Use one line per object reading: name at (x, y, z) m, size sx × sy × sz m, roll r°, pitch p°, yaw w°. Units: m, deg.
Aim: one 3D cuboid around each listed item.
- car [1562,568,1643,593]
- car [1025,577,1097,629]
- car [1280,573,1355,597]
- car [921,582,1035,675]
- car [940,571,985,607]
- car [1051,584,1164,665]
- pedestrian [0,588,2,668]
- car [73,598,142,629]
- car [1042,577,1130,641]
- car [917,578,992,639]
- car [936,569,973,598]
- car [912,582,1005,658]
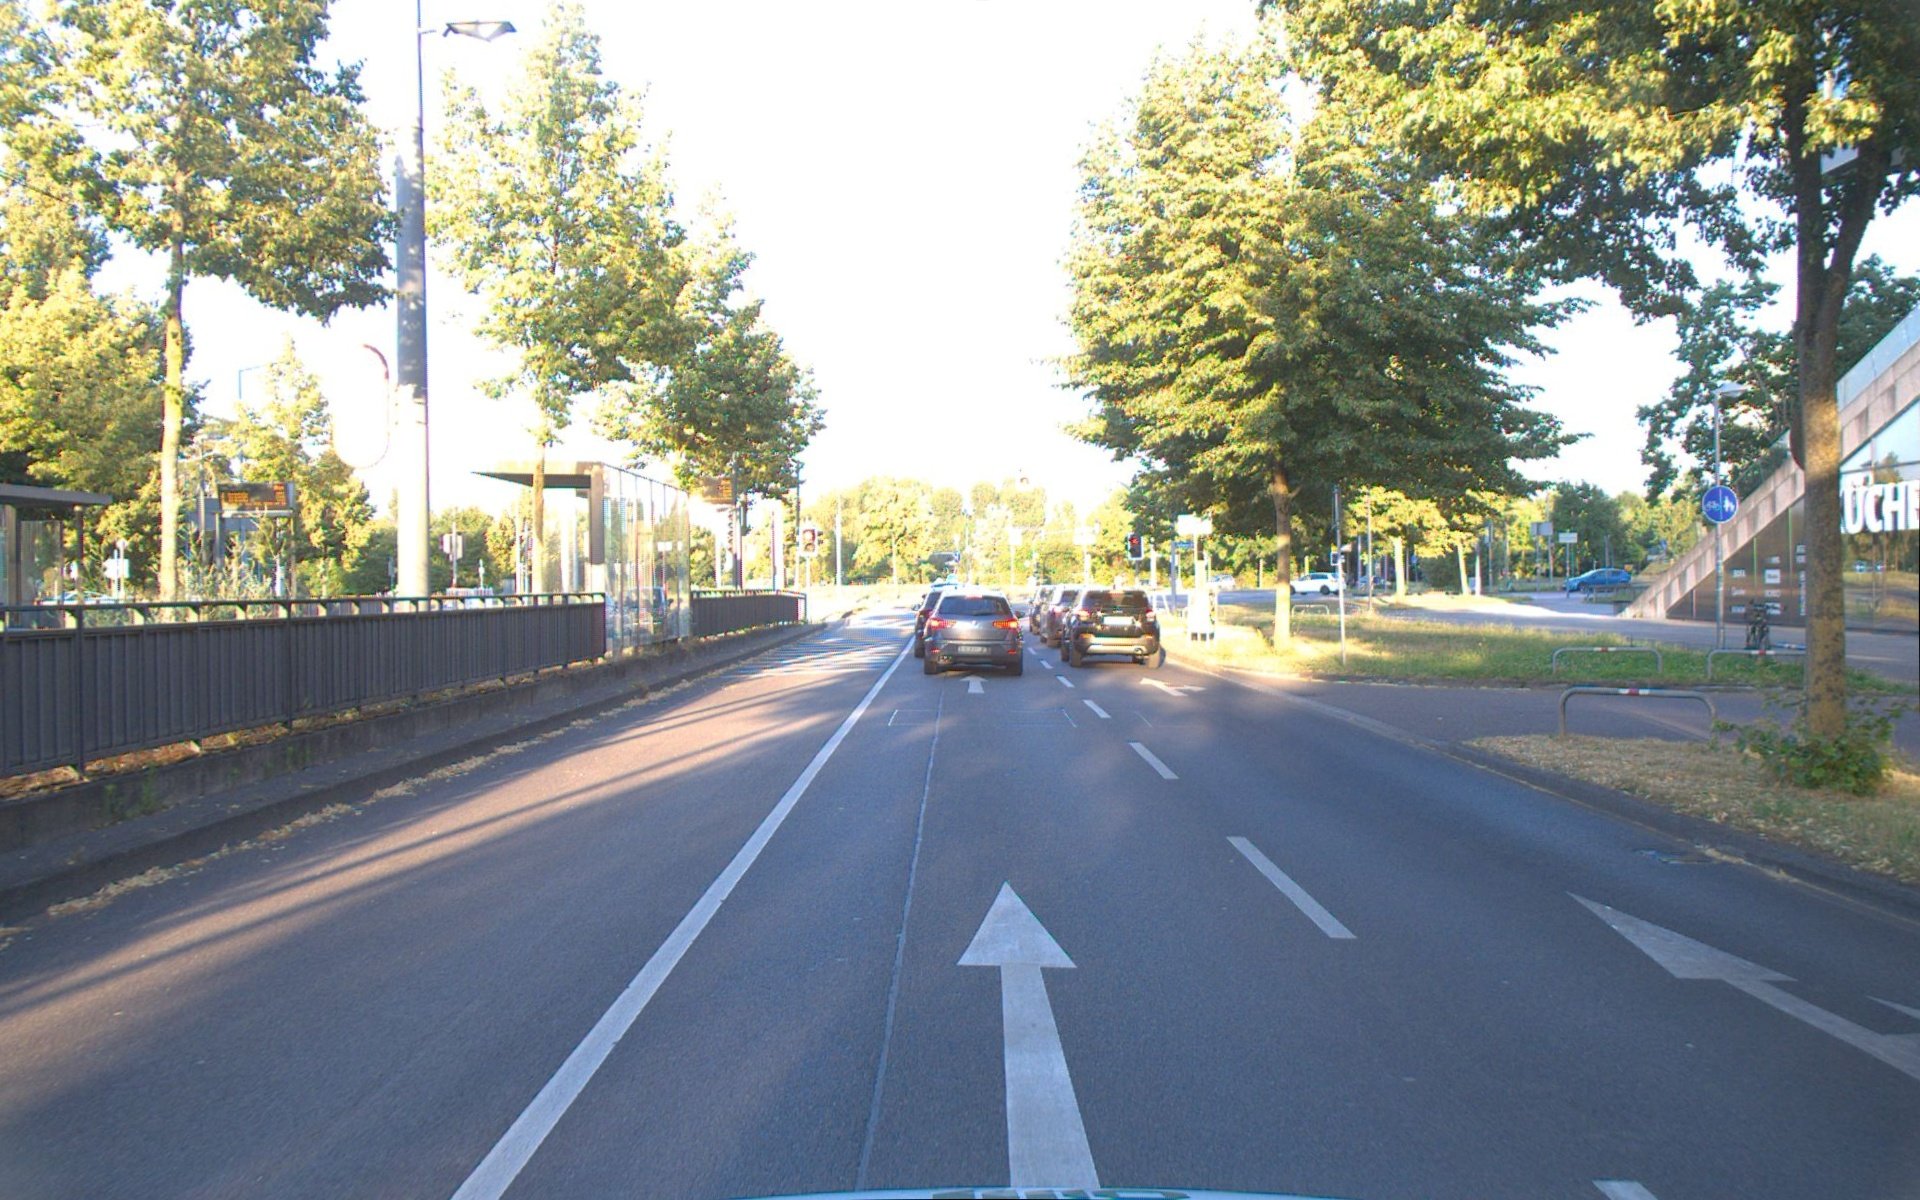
car at (39.576, -1.194, 101.929) m, size 4.331 × 1.512 × 1.920 m, roll 0°, pitch 1°, yaw 9°
car at (3.020, 0.061, 50.308) m, size 1.873 × 1.512 × 3.999 m, roll -1°, pitch 1°, yaw -1°
car at (23.034, -0.970, 106.749) m, size 4.356 × 1.512 × 1.909 m, roll 0°, pitch 1°, yaw 39°
car at (0.264, 0.444, 29.367) m, size 1.873 × 1.512 × 3.999 m, roll -1°, pitch 1°, yaw -1°
car at (0.066, -0.487, 71.227) m, size 1.873 × 1.512 × 3.999 m, roll -1°, pitch 1°, yaw -1°
car at (2.906, 0.443, 33.401) m, size 1.873 × 1.512 × 3.999 m, roll 0°, pitch 1°, yaw -1°
pedestrian at (-16.379, 0.483, 27.394) m, size 0.602 × 1.342 × 0.744 m, roll -1°, pitch 0°, yaw -4°
car at (-49.325, 0.760, 95.752) m, size 1.953 × 1.691 × 4.000 m, roll -1°, pitch 1°, yaw -1°
car at (3.141, 0.186, 41.867) m, size 1.873 × 1.512 × 3.999 m, roll -1°, pitch 1°, yaw -1°
car at (-0.156, 0.189, 43.558) m, size 1.873 × 1.512 × 3.999 m, roll -1°, pitch 1°, yaw -1°
car at (-0.325, -0.878, 87.396) m, size 1.873 × 1.512 × 3.999 m, roll -1°, pitch 1°, yaw -1°
car at (-0.053, 0.387, 35.582) m, size 1.873 × 1.512 × 3.999 m, roll -1°, pitch 1°, yaw -1°
